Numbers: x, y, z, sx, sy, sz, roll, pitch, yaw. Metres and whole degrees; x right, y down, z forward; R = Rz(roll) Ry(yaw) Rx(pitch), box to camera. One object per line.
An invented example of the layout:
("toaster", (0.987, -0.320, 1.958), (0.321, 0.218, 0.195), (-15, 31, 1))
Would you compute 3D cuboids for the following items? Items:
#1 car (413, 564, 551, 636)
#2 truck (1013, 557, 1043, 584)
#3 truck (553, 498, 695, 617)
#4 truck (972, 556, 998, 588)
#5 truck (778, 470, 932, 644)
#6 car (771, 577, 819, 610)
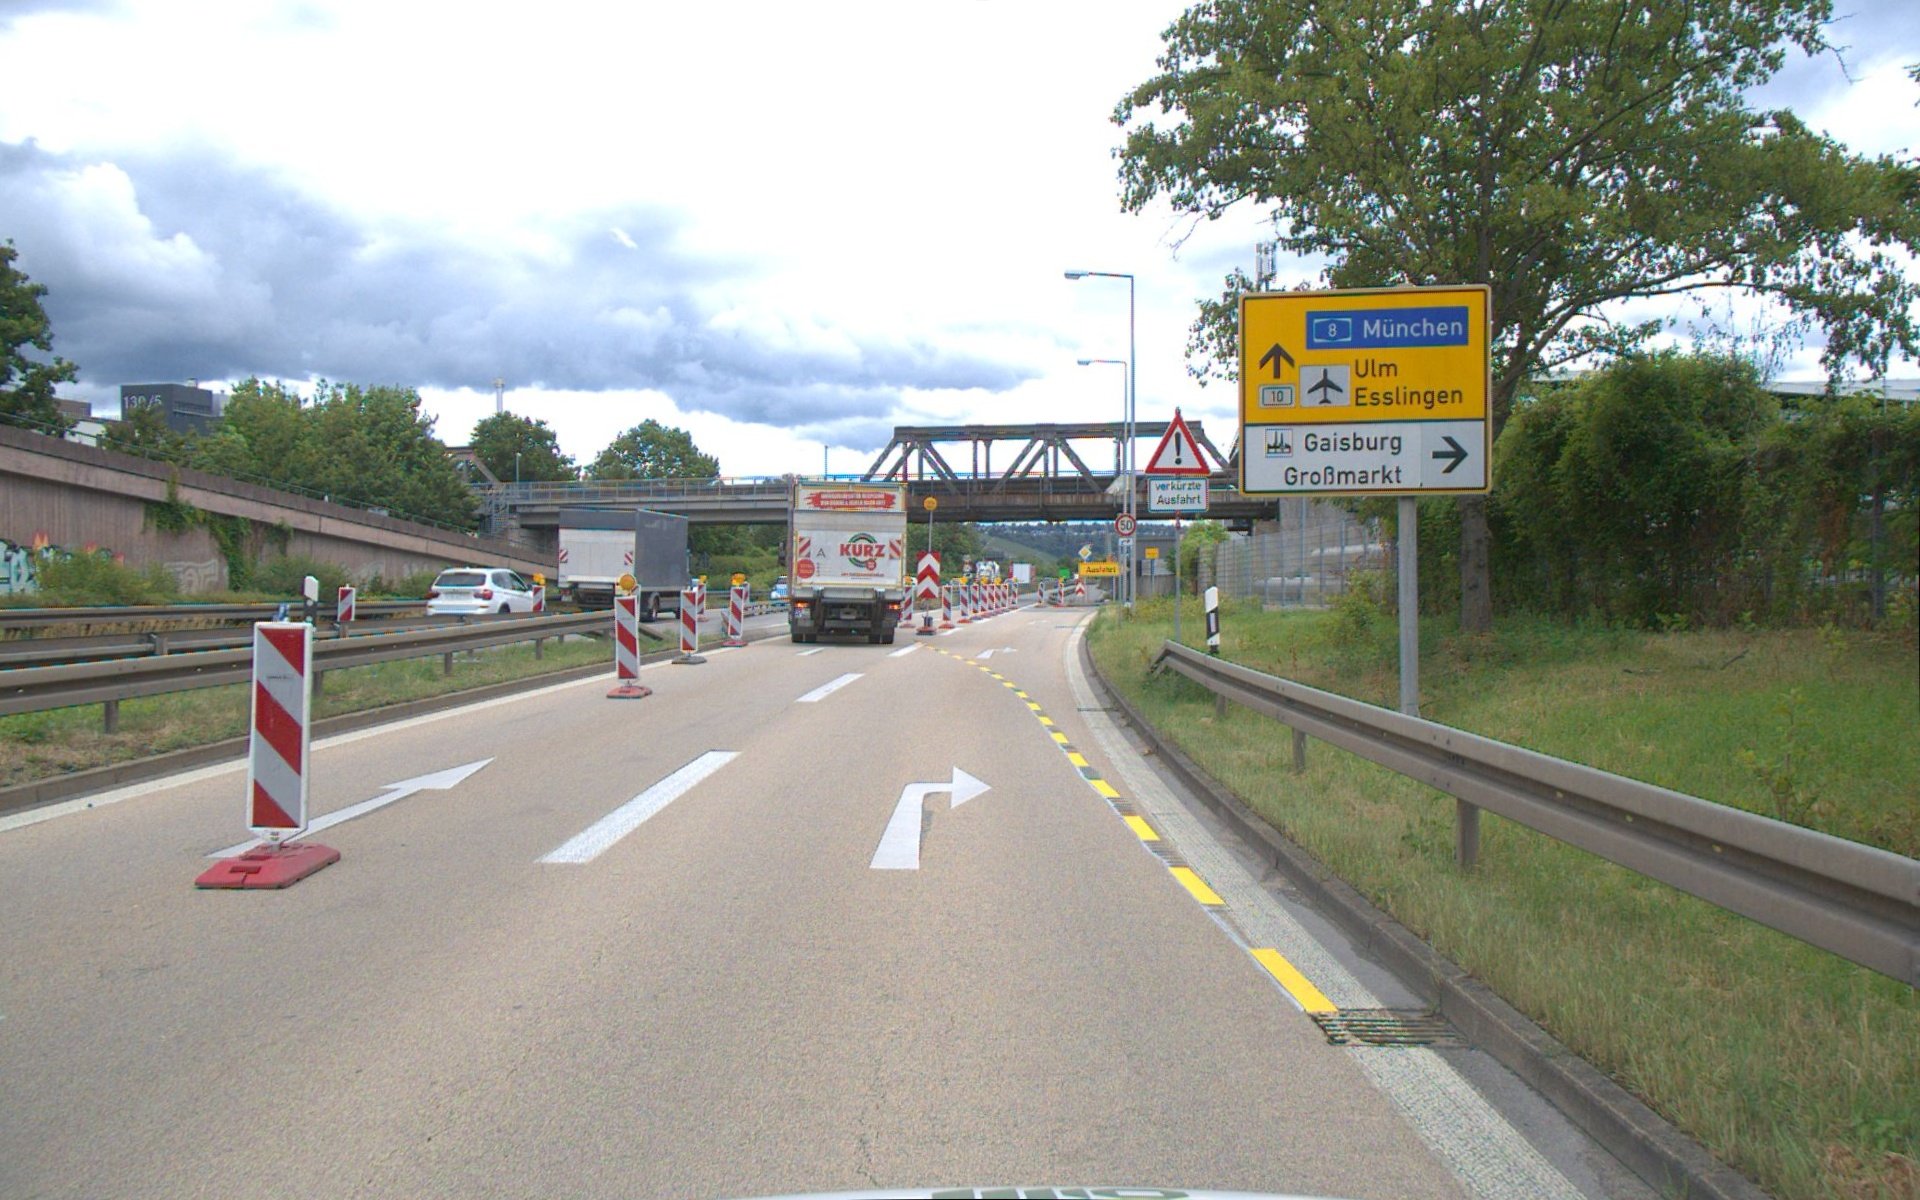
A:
("car", (-12.073, 0.012, 42.054), (1.951, 1.742, 4.104), (0, 0, 6))
("truck", (9.383, -4.097, 229.154), (3.827, 3.611, 8.140), (0, 0, 0))
("truck", (-11.105, -1.328, 55.450), (2.987, 3.720, 7.397), (0, 0, 2))
("truck", (3.232, -3.556, 210.293), (3.218, 3.920, 7.666), (0, 0, 2))
("truck", (-2.309, -0.904, 39.318), (2.988, 3.737, 7.928), (0, 0, 1))
("car", (-8.440, -0.330, 84.994), (1.952, 1.646, 4.001), (0, 0, 2))
